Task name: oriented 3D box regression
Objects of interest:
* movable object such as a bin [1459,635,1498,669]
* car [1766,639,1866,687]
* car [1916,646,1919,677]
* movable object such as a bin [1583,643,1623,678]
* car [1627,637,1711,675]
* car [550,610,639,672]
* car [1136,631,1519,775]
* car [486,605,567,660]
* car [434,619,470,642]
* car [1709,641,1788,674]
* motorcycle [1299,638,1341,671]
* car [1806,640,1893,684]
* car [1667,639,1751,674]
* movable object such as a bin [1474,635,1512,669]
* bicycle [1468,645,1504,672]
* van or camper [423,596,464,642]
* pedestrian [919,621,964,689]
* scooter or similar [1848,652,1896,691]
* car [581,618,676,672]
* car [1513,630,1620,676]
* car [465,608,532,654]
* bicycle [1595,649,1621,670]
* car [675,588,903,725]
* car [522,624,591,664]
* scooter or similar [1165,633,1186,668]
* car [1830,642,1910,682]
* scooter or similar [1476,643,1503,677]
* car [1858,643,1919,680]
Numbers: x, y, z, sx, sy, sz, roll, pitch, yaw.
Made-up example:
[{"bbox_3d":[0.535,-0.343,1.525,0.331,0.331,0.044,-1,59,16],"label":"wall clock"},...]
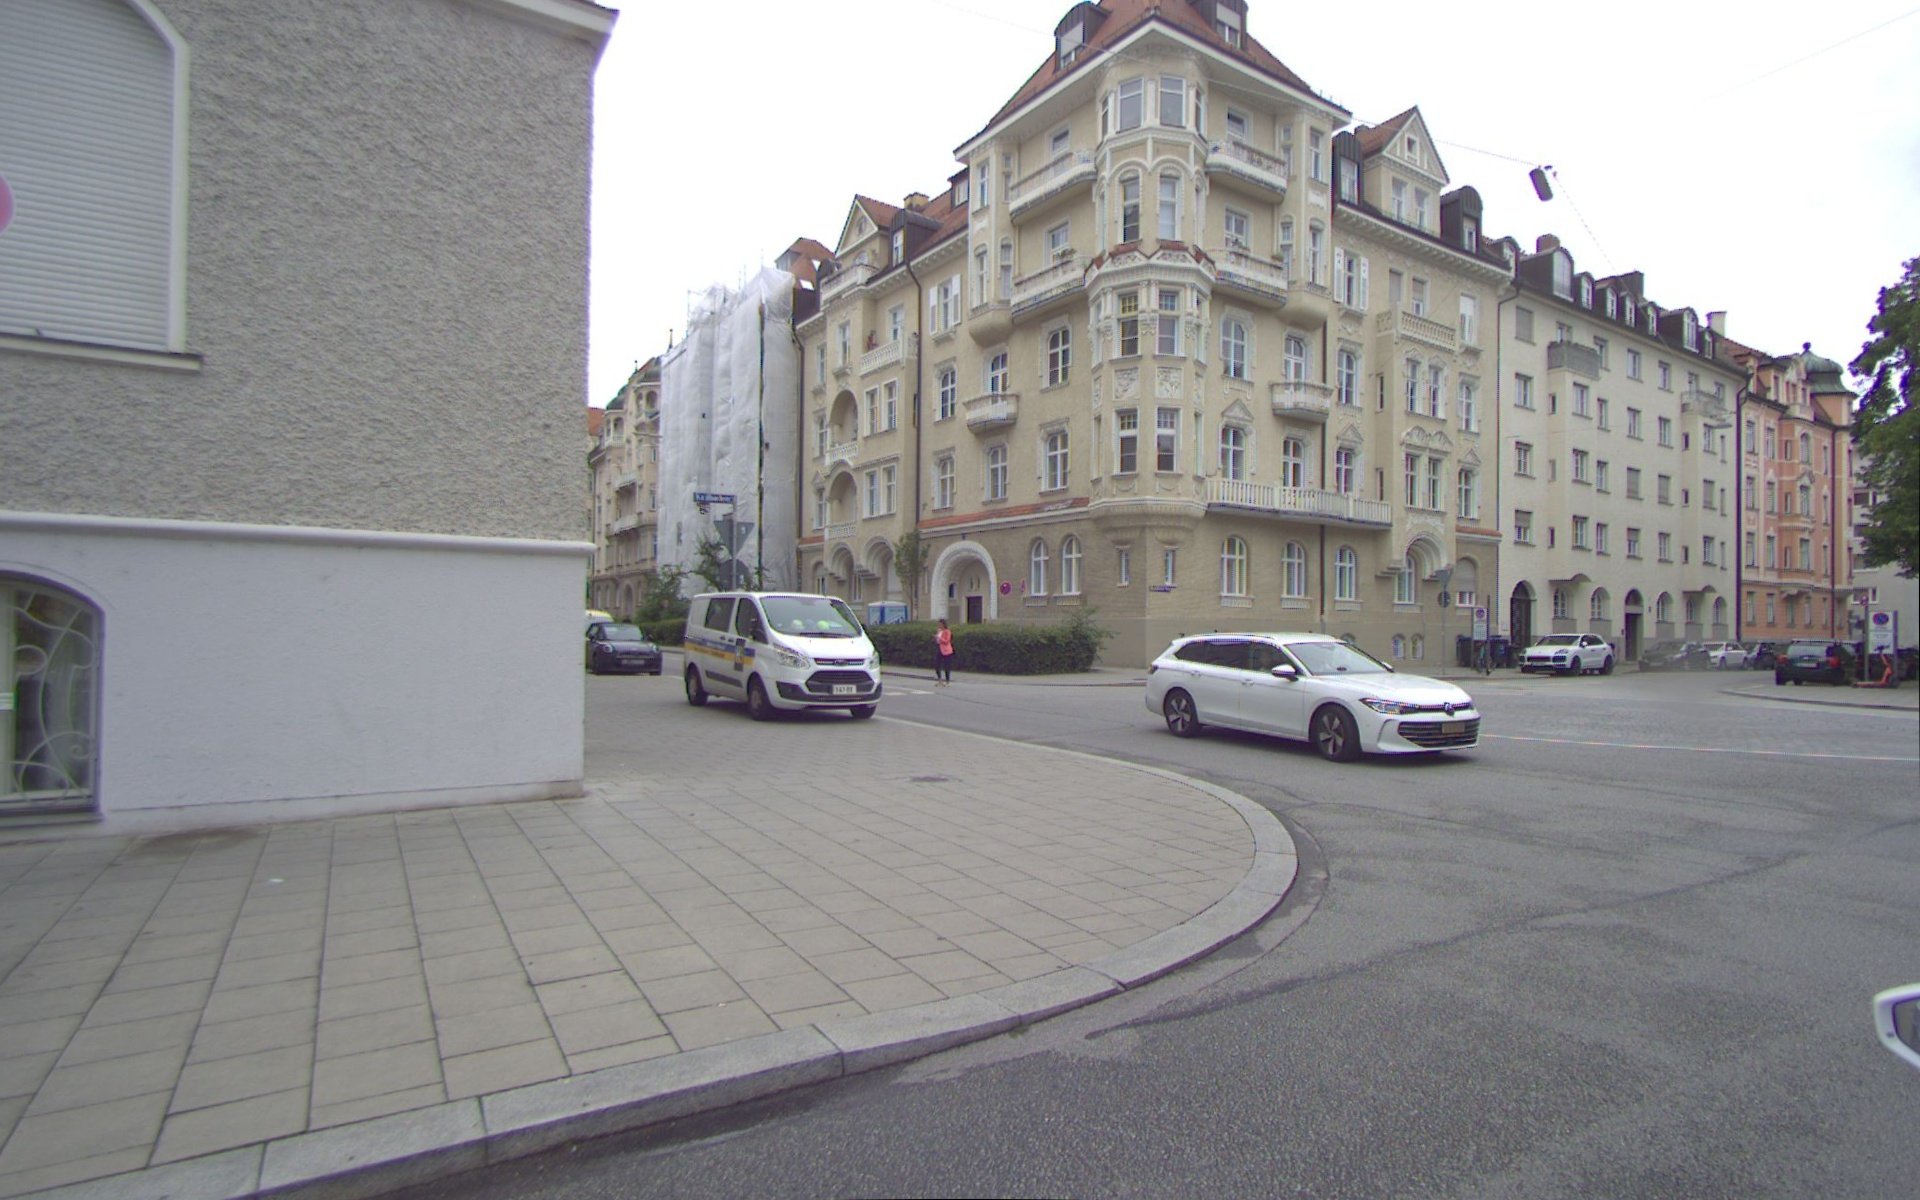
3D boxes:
[{"bbox_3d":[22.617,2.275,43.834,1.161,1.444,1.085,2,-2,-33],"label":"movable object such as a bin"},{"bbox_3d":[28.652,2.068,33.584,4.386,1.525,1.804,2,-3,-40],"label":"car"},{"bbox_3d":[49.369,3.063,50.128,4.078,1.525,1.821,2,-3,-38],"label":"car"},{"bbox_3d":[27.766,2.607,43.399,1.161,1.444,1.085,2,-2,-33],"label":"movable object such as a bin"},{"bbox_3d":[32.861,2.560,46.515,4.671,1.637,1.960,2,-1,-38],"label":"car"},{"bbox_3d":[-11.836,1.290,32.335,2.003,1.863,4.103,2,-2,-30],"label":"car"},{"bbox_3d":[4.563,1.198,13.371,1.866,1.468,4.859,2,-1,-26],"label":"car"},{"bbox_3d":[-17.979,1.335,41.513,2.104,2.119,4.775,2,-2,-35],"label":"car"},{"bbox_3d":[-31.335,1.853,61.958,1.679,1.364,3.509,2,-2,-32],"label":"car"},{"bbox_3d":[41.015,2.954,52.209,4.361,1.602,1.964,2,-1,-33],"label":"car"},{"bbox_3d":[13.624,2.052,38.016,1.812,1.191,0.594,2,-2,-36],"label":"motorcycle"},{"bbox_3d":[32.692,2.257,36.884,4.200,1.525,1.779,2,-3,-40],"label":"car"},{"bbox_3d":[36.796,2.760,49.323,4.361,1.602,1.964,2,-1,-33],"label":"car"},{"bbox_3d":[23.609,2.305,44.482,1.161,1.444,1.085,2,-2,-33],"label":"movable object such as a bin"},{"bbox_3d":[21.347,2.350,40.734,1.812,1.063,0.559,2,-2,-36],"label":"bicycle"},{"bbox_3d":[-34.721,1.257,67.413,1.977,2.952,6.385,2,-1,-31],"label":"van or camper"},{"bbox_3d":[-0.454,1.369,25.204,0.849,1.657,0.724,2,-2,-41],"label":"pedestrian"},{"bbox_3d":[27.541,2.152,30.340,0.984,1.103,0.390,1,-1,29],"label":"scooter or similar"},{"bbox_3d":[-9.181,1.213,27.651,1.678,1.364,3.648,2,-2,-32],"label":"car"},{"bbox_3d":[24.400,2.115,40.371,4.793,1.723,1.962,2,-1,-35],"label":"car"},{"bbox_3d":[-21.406,1.426,46.508,2.102,2.020,4.779,2,-2,-33],"label":"car"},{"bbox_3d":[33.749,3.080,52.308,1.812,1.063,0.559,2,-2,-36],"label":"bicycle"},{"bbox_3d":[-2.988,0.844,16.545,1.905,1.905,4.866,2,-2,-33],"label":"car"},{"bbox_3d":[-14.687,1.562,36.479,1.679,1.364,3.508,2,-2,-33],"label":"car"},{"bbox_3d":[7.164,1.678,33.379,0.459,1.130,1.215,1,-1,23],"label":"scooter or similar"},{"bbox_3d":[36.139,2.429,39.863,4.081,1.525,1.779,2,-3,-40],"label":"car"},{"bbox_3d":[19.912,2.237,37.801,0.458,1.209,1.216,1,-1,5],"label":"scooter or similar"},{"bbox_3d":[40.527,2.647,43.574,4.081,1.525,1.779,2,-3,-40],"label":"car"}]
